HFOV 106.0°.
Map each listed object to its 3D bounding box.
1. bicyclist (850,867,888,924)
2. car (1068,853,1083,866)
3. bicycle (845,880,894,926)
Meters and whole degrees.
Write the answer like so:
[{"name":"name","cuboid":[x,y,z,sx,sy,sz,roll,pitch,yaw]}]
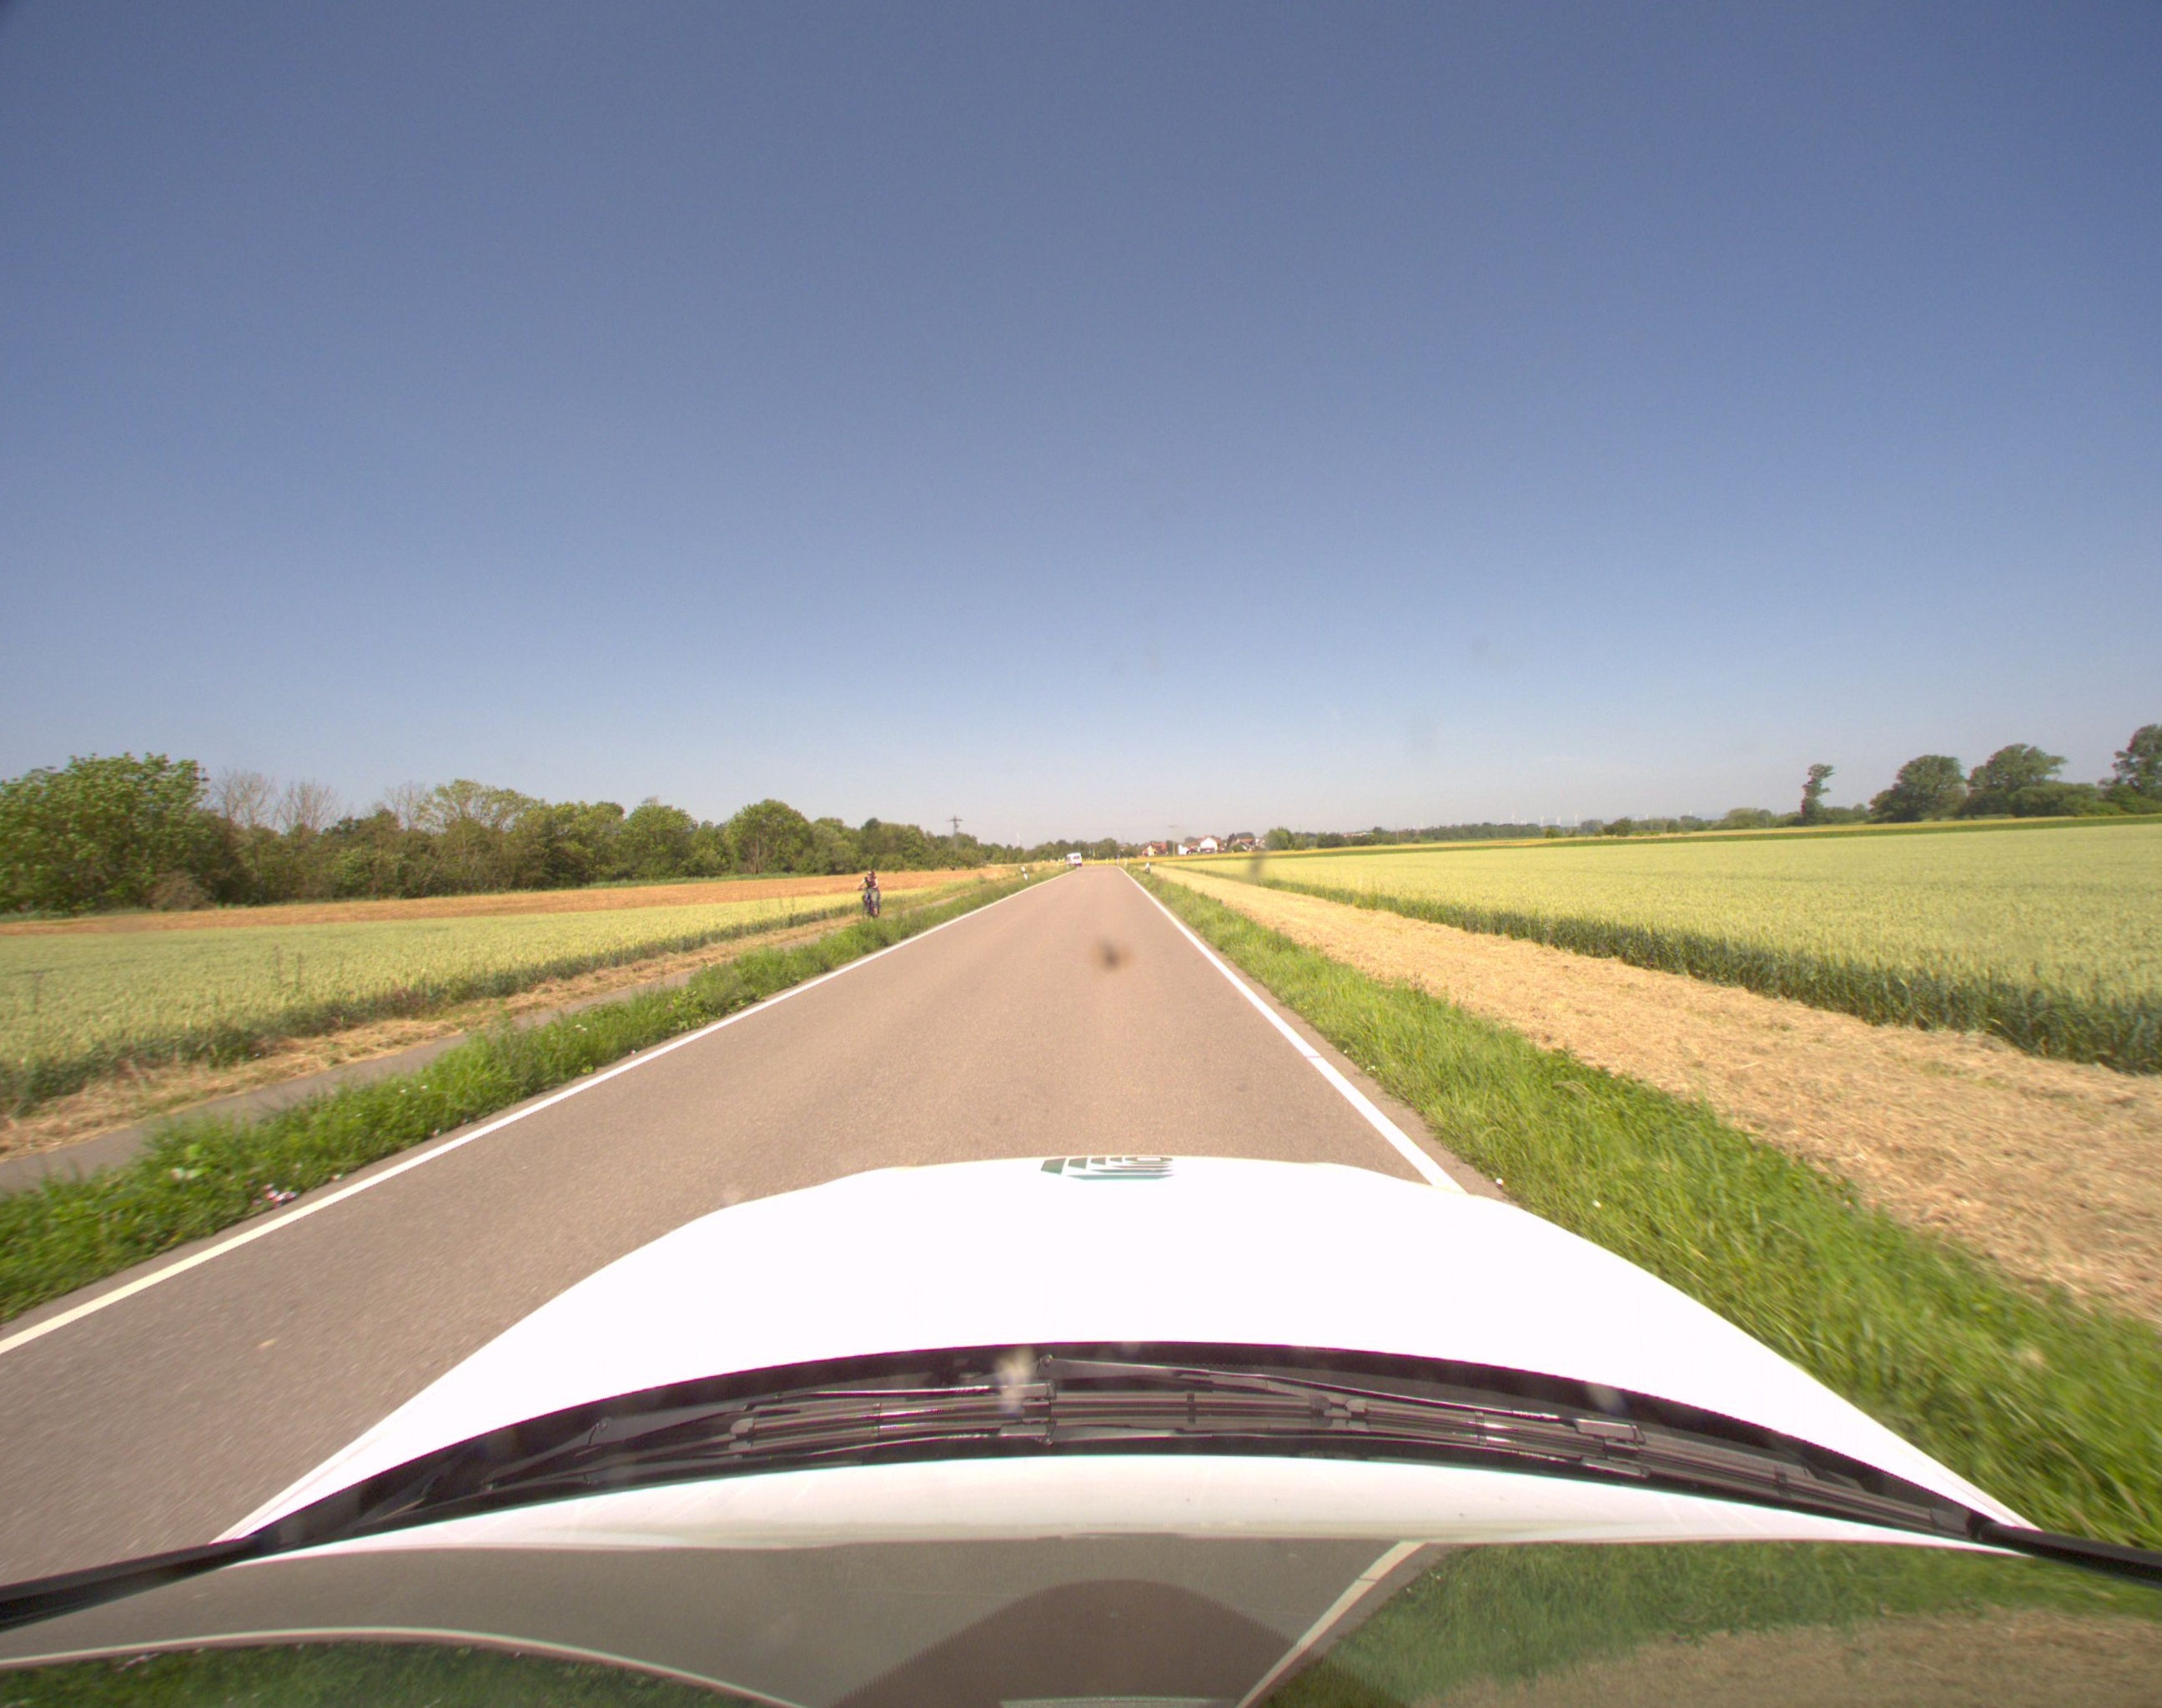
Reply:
[{"name":"bicyclist","cuboid":[-6.559,1.271,25.244,0.757,1.672,1.089,-4,-1,1]},{"name":"car","cuboid":[-1.083,0.994,150.370,2.106,2.304,5.480,-1,0,-8]},{"name":"bicycle","cuboid":[-6.561,1.489,25.382,0.756,1.236,2.395,-4,0,2]}]
